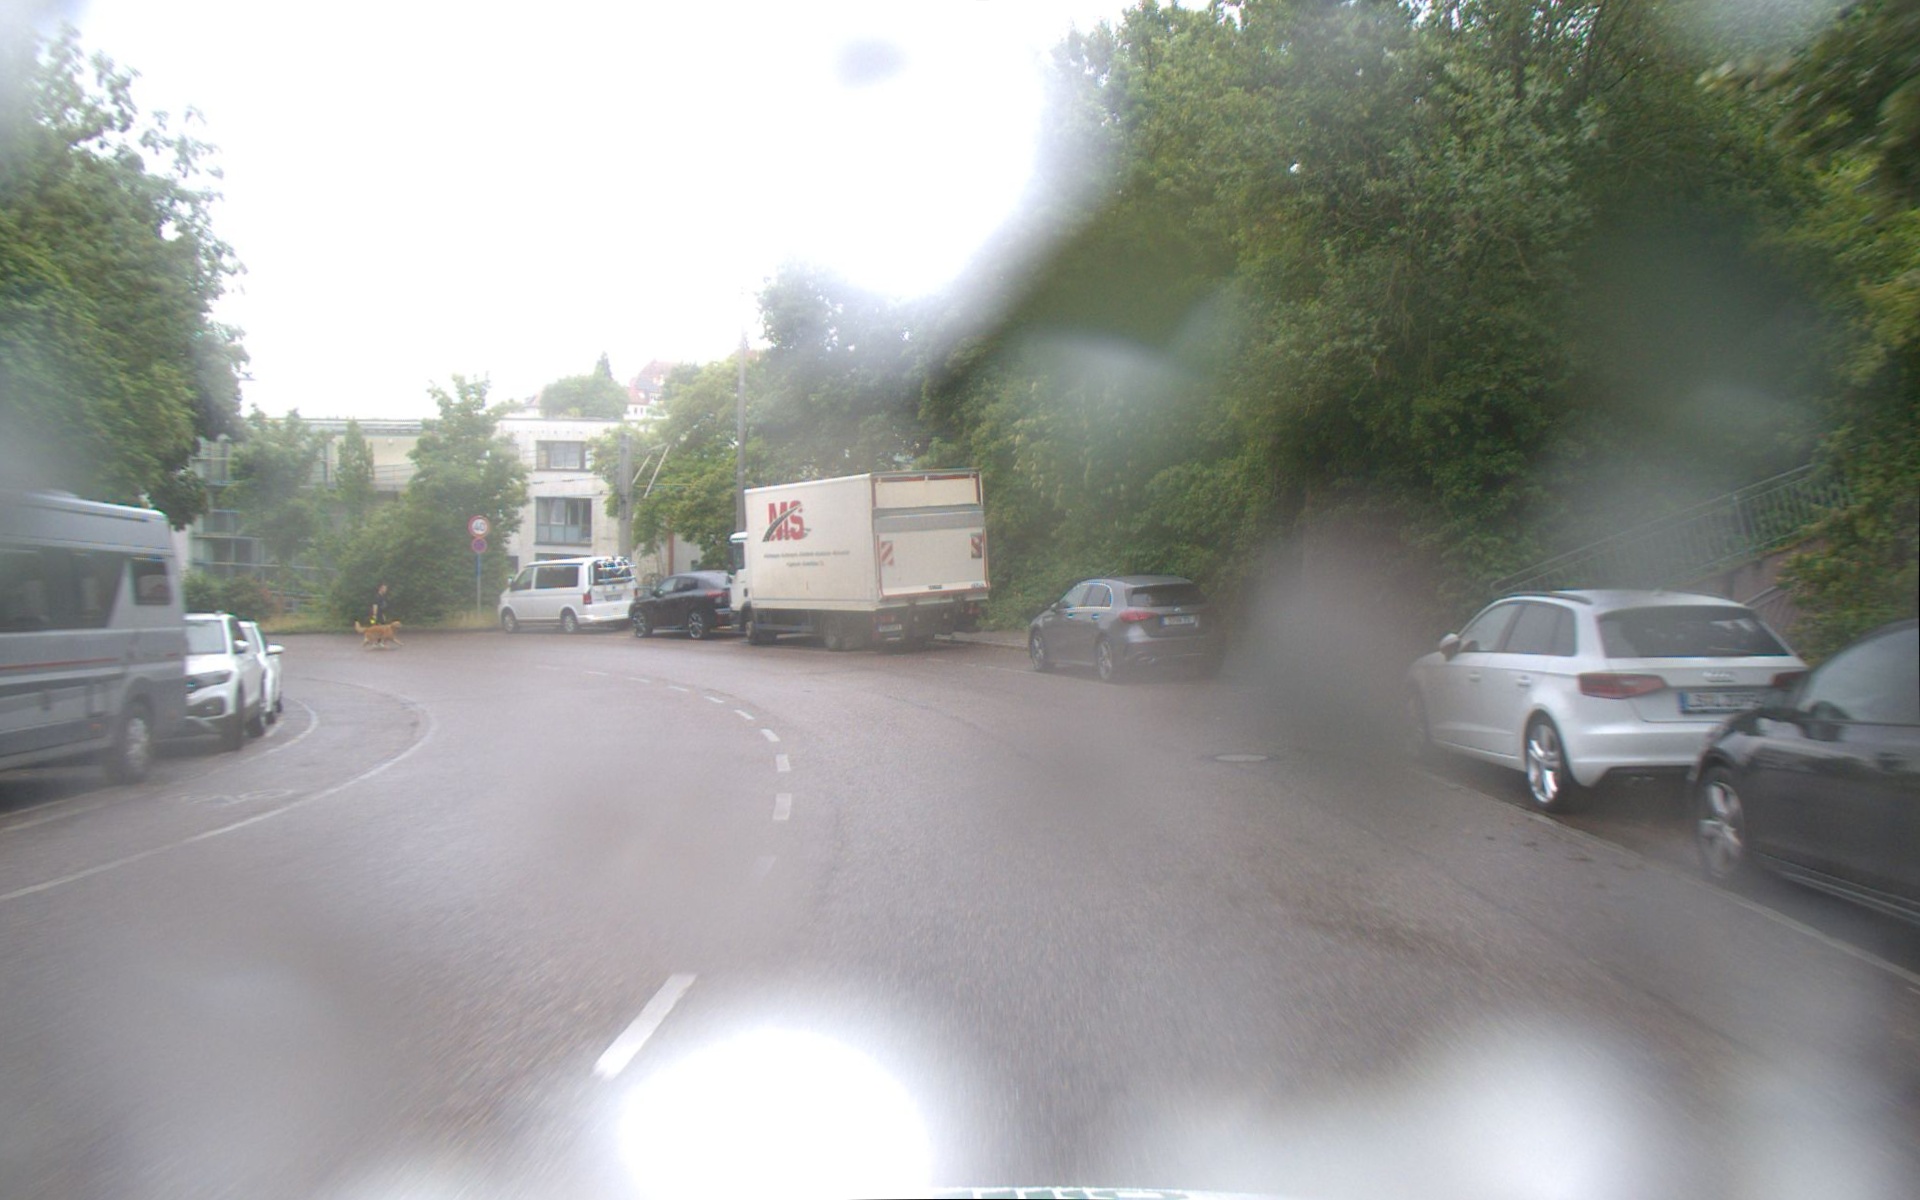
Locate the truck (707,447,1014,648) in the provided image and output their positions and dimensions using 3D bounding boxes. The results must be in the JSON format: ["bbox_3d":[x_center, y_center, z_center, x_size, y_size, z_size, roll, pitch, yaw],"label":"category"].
[{"bbox_3d":[-2.382,-1.038,35.361,2.977,3.634,8.251,-6,3,-30],"label":"truck"}]

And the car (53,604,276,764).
[{"bbox_3d":[-9.345,0.930,19.741,1.776,1.610,4.004,-3,0,-18],"label":"car"}]

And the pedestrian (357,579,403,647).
[{"bbox_3d":[-15.404,0.349,43.944,0.906,1.689,0.803,-4,4,-10],"label":"pedestrian"}]

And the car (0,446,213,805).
[{"bbox_3d":[-8.040,0.264,12.865,2.034,2.594,6.338,-3,-1,-6],"label":"car"}]

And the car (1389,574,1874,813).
[{"bbox_3d":[4.676,0.539,12.230,1.720,1.425,4.093,0,1,-4],"label":"car"}]

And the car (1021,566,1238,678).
[{"bbox_3d":[2.429,0.258,24.735,1.694,1.469,4.104,-3,2,-18],"label":"car"}]

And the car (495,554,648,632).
[{"bbox_3d":[-10.829,-0.184,45.946,4.608,2.049,1.871,-1,1,42],"label":"car"}]

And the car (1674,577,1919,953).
[{"bbox_3d":[4.629,0.665,6.946,1.625,1.449,3.970,0,2,1],"label":"car"}]

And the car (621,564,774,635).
[{"bbox_3d":[-6.616,-0.013,41.409,1.710,1.582,4.211,-6,4,-42],"label":"car"}]

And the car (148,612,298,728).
[{"bbox_3d":[-11.008,0.978,24.928,1.727,1.481,4.023,-3,1,-20],"label":"car"}]
